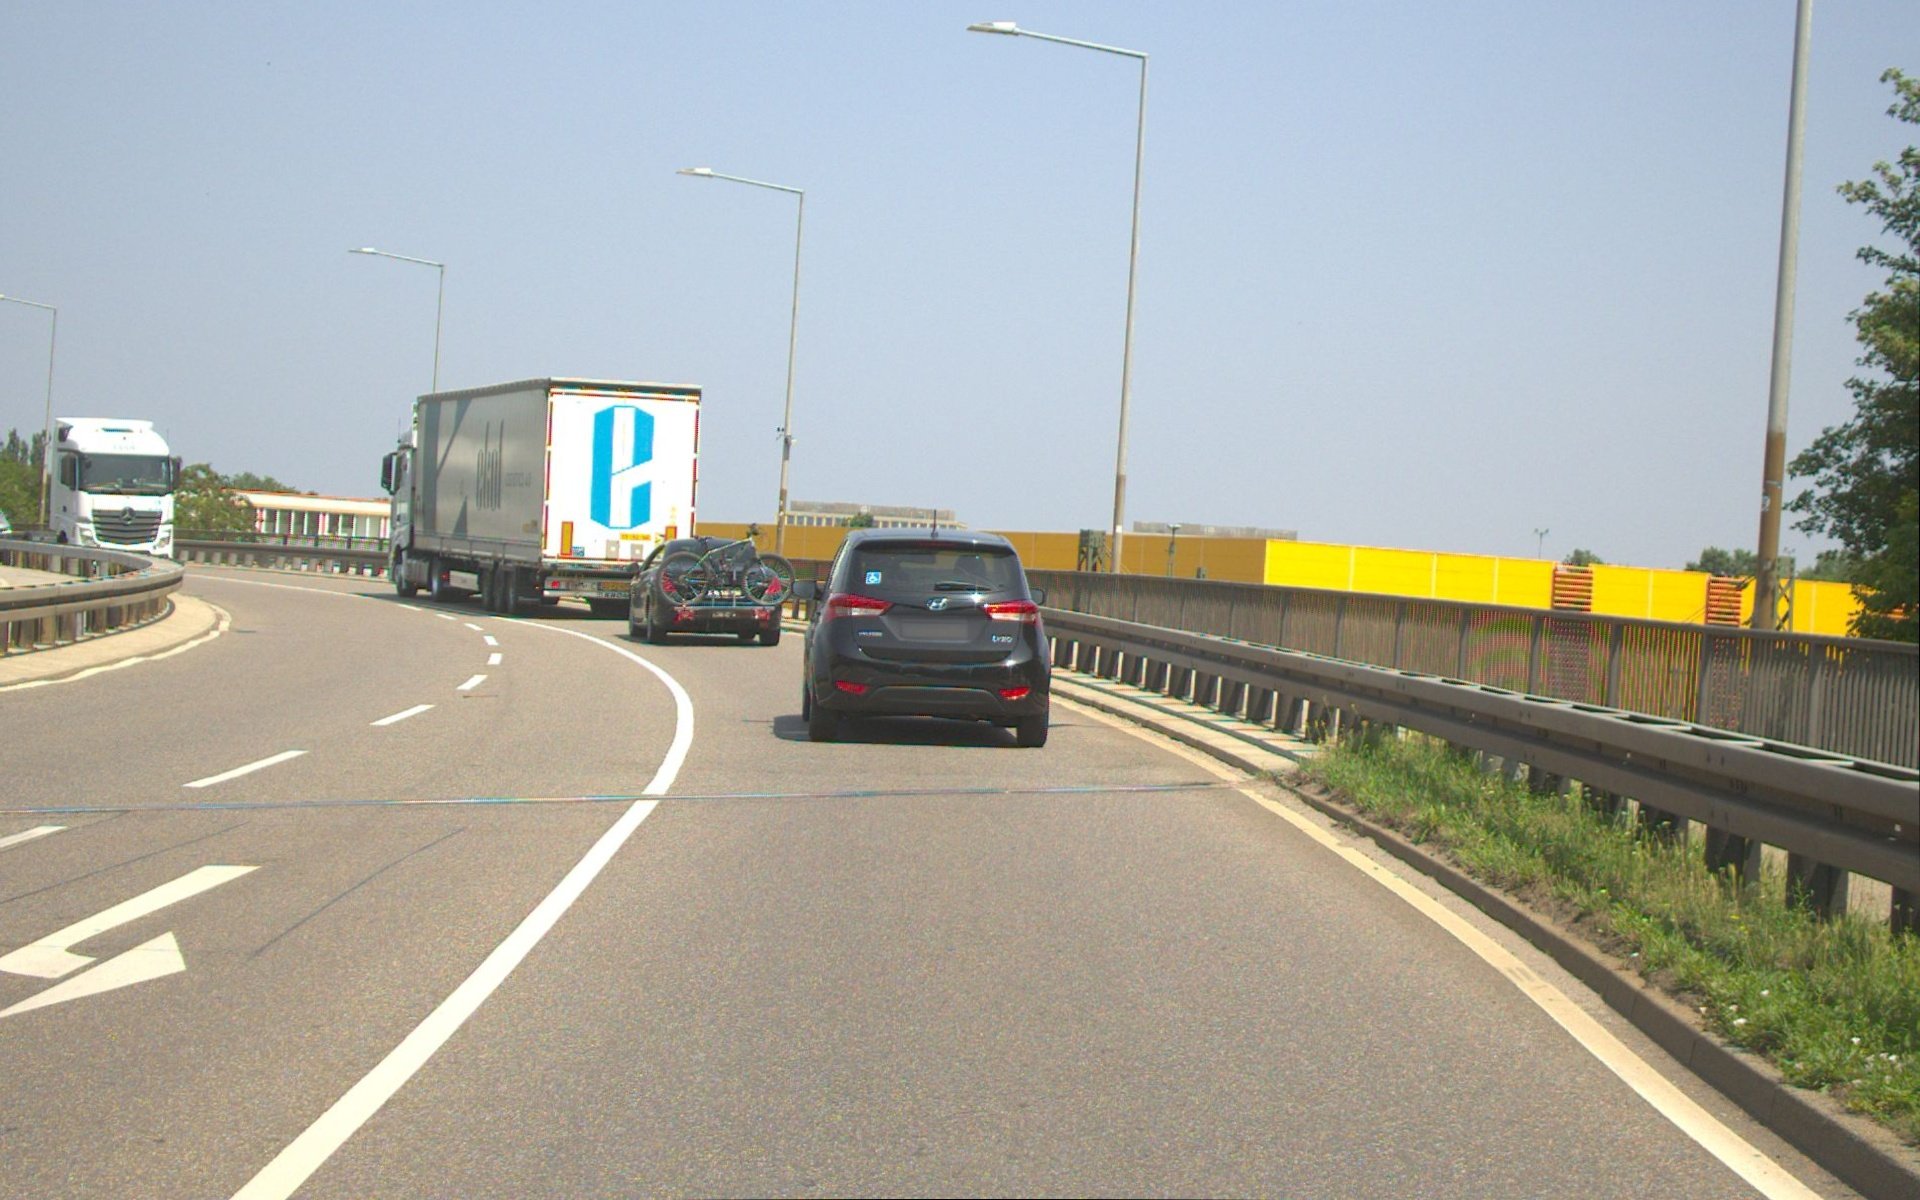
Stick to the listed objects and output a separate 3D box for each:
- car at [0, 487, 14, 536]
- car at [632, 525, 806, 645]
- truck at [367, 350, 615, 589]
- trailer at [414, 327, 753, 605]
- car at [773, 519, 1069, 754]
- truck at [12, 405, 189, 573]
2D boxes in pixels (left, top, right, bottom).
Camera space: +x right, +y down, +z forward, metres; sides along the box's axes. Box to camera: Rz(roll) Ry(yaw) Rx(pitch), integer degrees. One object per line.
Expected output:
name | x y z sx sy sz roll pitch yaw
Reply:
car | -28.308 -2.584 97.775 1.559 1.381 3.615 2 2 -34
car | -3.277 -0.227 46.124 2.011 1.424 3.778 3 1 -8
truck | -9.533 -2.608 69.214 3.571 4.425 6.517 2 1 -19
trailer | -6.988 -2.378 61.632 3.568 4.369 11.445 2 1 -18
car | -0.378 0.215 26.388 1.921 1.568 3.892 3 1 -5
truck | -21.755 -2.833 86.763 2.705 3.977 6.187 2 1 -29
